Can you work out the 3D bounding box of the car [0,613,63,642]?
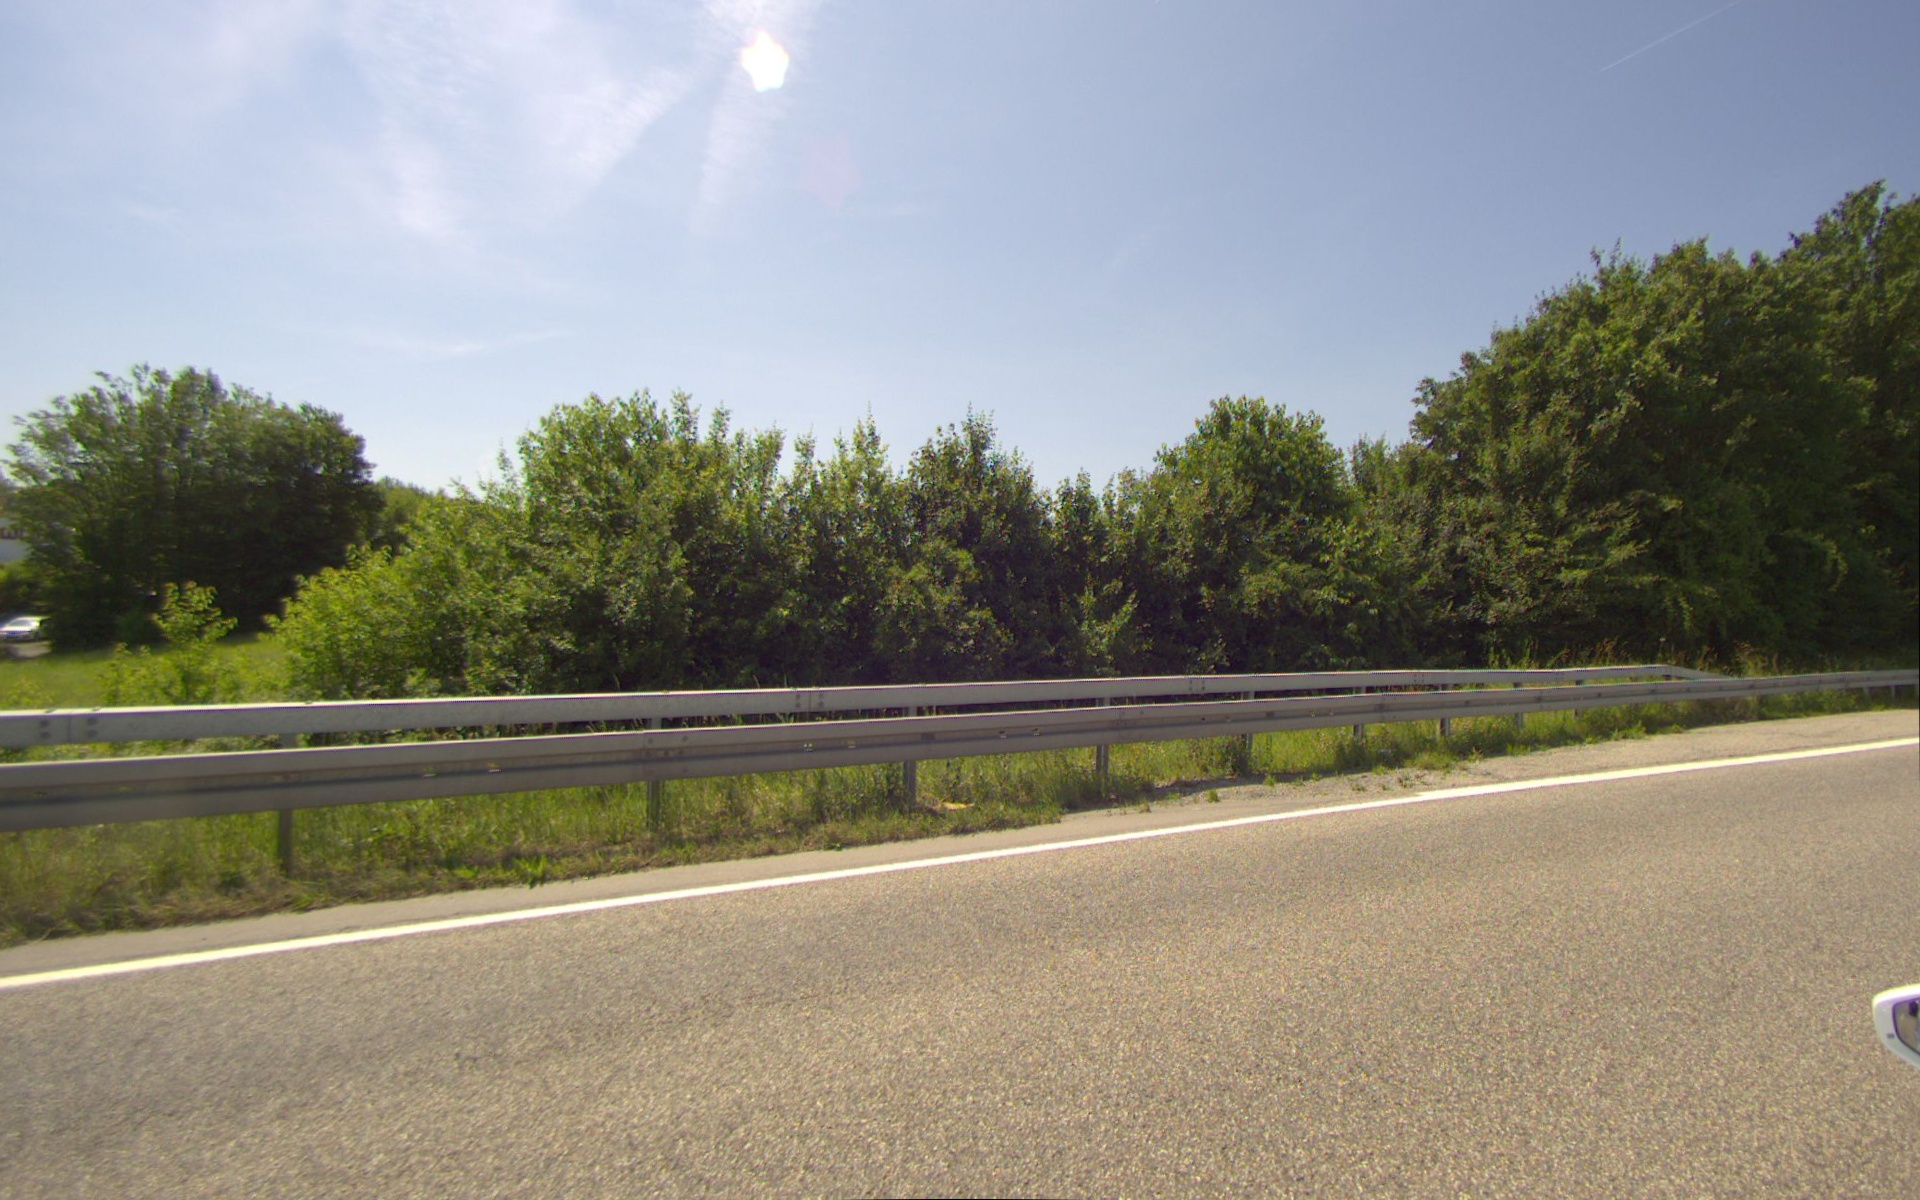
[{"bbox_3d":[-59.034,1.730,63.939,1.808,1.625,3.974,-2,2,-25],"label":"car"}]
